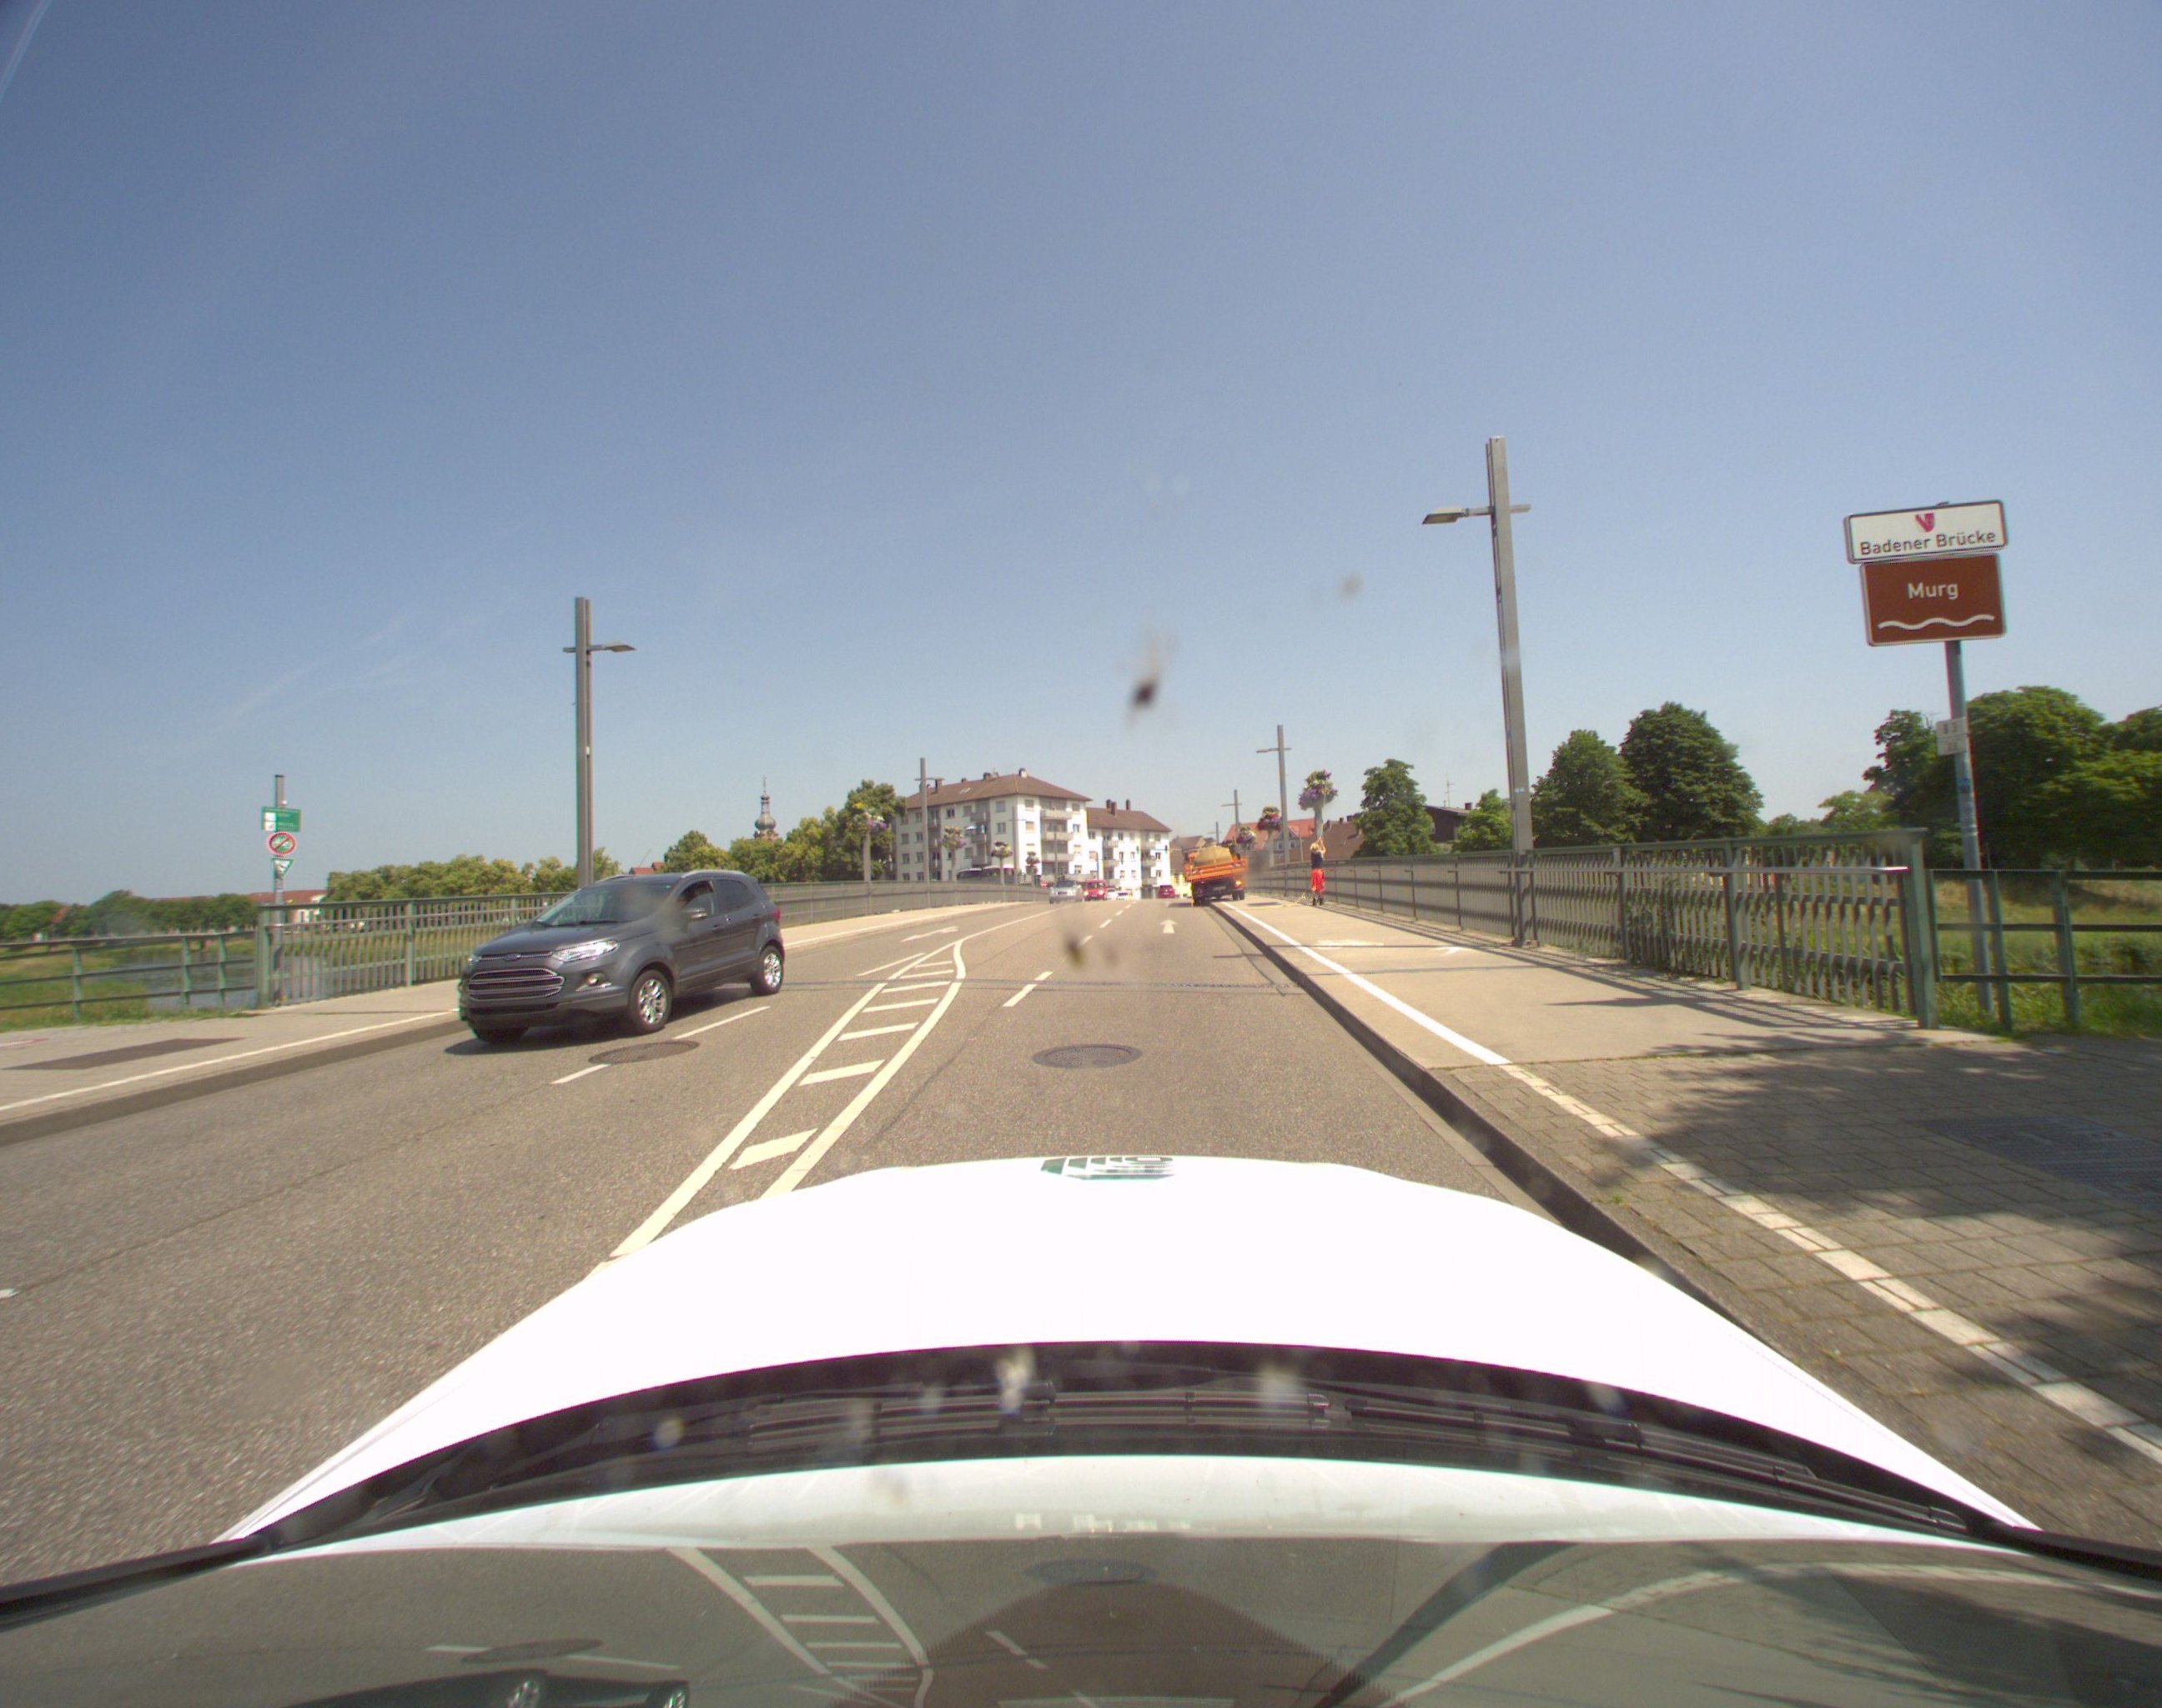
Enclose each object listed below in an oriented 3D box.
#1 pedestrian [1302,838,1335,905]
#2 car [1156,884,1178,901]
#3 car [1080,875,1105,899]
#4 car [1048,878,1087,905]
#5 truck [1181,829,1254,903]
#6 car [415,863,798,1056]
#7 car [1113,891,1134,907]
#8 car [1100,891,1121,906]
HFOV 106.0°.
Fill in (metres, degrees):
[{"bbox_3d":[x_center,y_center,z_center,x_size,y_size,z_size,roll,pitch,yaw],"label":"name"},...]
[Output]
[{"bbox_3d":[7.047,0.518,24.176,0.672,1.960,0.545,-1,-3,-19],"label":"pedestrian"},{"bbox_3d":[8.782,3.940,83.284,1.981,1.613,4.346,-3,-2,4],"label":"car"},{"bbox_3d":[0.919,2.616,64.264,1.729,1.777,4.179,-2,-3,3],"label":"car"},{"bbox_3d":[-0.776,2.221,49.101,1.690,1.358,4.463,-5,-2,6],"label":"car"},{"bbox_3d":[5.533,0.554,33.882,2.592,2.691,5.832,-3,-2,6],"label":"truck"},{"bbox_3d":[-4.976,0.988,9.298,1.728,1.641,3.927,-4,-1,5],"label":"car"},{"bbox_3d":[5.188,5.453,99.109,1.747,1.857,4.662,-1,-1,12],"label":"car"},{"bbox_3d":[2.916,4.369,80.627,1.836,1.432,4.718,0,-3,4],"label":"car"}]
